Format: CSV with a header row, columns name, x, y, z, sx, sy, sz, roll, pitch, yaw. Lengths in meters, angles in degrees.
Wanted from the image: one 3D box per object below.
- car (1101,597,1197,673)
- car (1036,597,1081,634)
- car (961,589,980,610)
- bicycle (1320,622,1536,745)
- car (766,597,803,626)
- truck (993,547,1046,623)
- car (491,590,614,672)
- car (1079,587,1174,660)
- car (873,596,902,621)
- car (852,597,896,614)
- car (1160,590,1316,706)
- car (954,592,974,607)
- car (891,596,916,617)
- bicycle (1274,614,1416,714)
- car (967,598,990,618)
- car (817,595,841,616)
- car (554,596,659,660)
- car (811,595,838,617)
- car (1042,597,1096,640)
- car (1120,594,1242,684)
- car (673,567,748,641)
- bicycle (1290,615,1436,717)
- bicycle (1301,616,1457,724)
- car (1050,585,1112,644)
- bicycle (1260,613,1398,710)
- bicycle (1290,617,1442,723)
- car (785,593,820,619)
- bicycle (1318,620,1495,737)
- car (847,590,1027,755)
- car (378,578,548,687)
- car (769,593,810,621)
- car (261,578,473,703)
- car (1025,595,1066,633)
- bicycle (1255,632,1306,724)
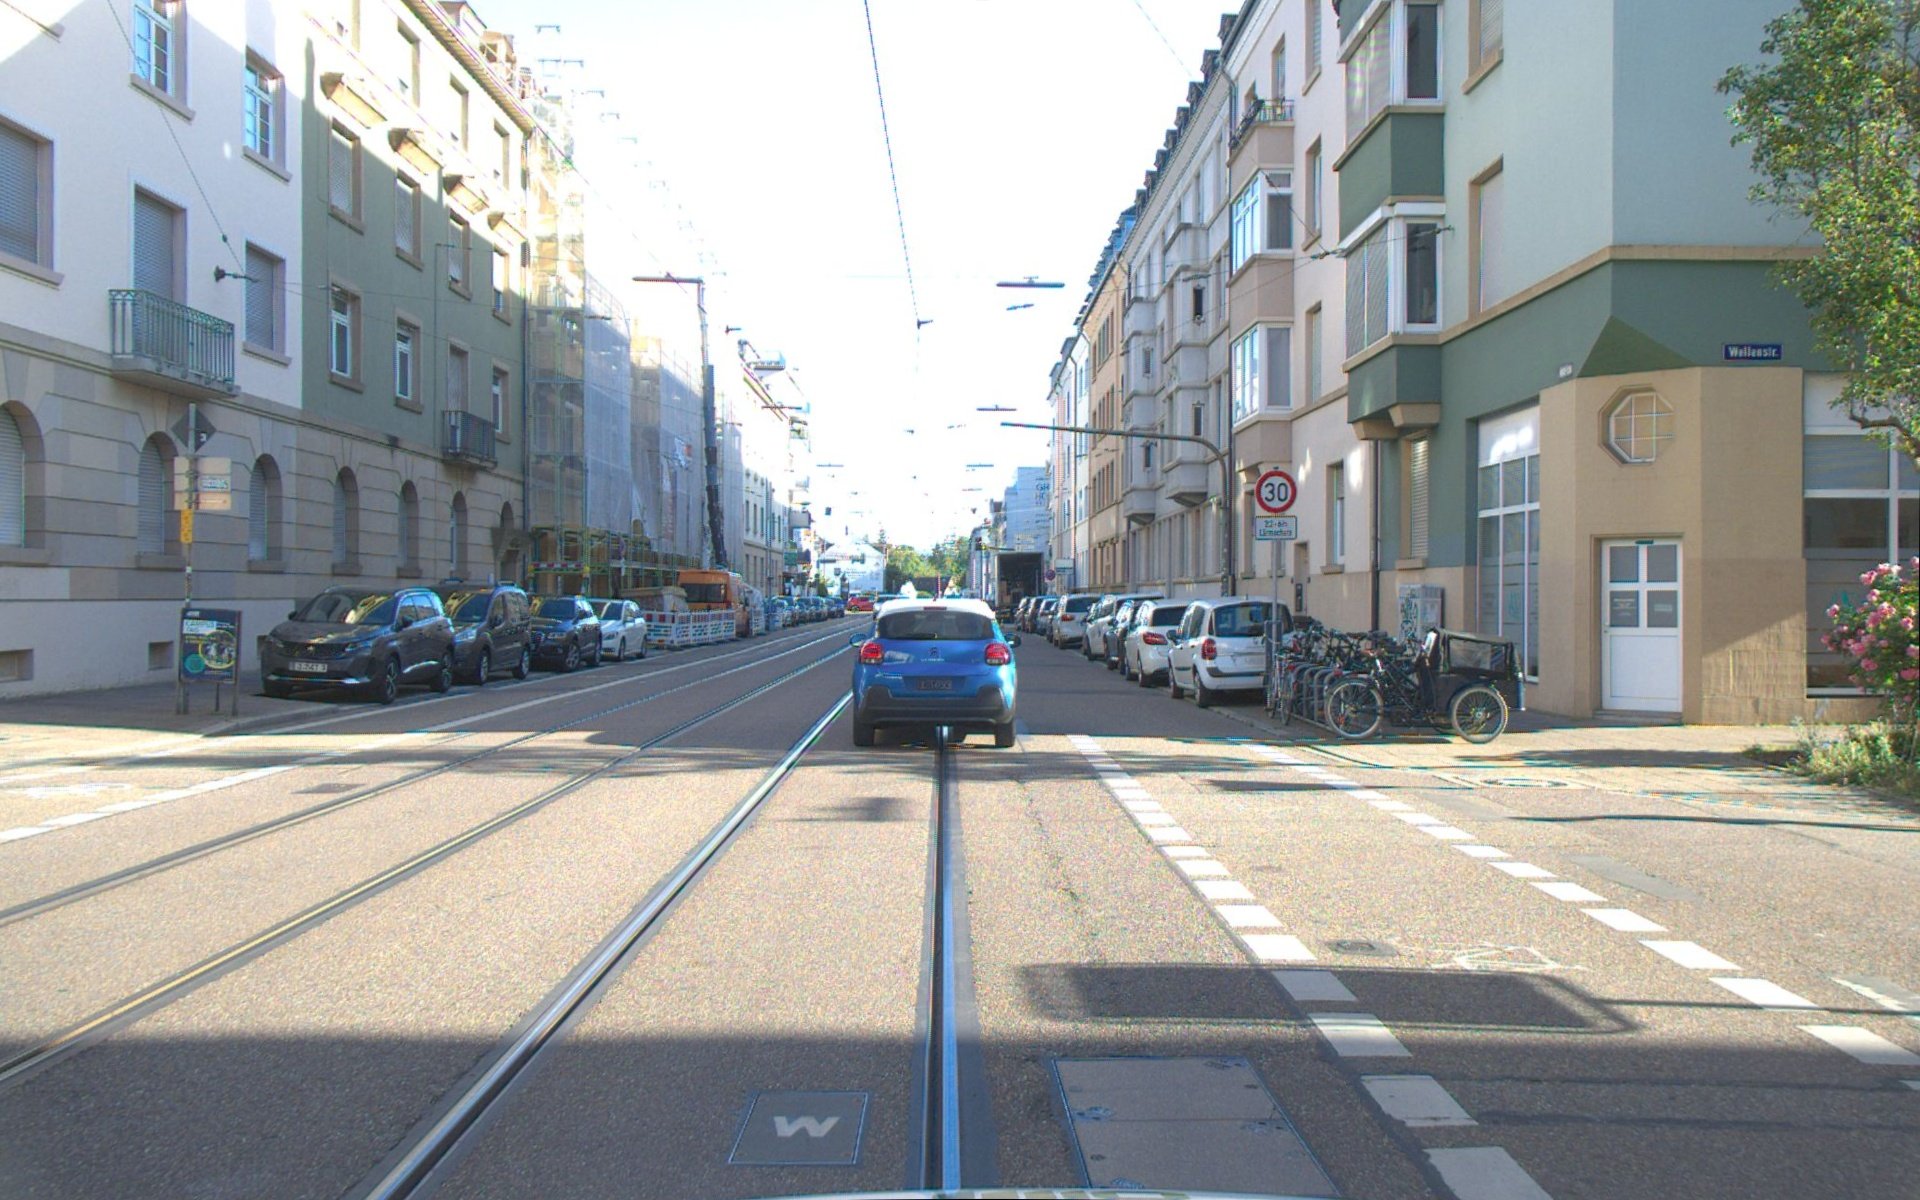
name,x,y,z,sx,sy,sz,roll,pitch,yaw
car,4.137,0.725,36.748,1.621,1.594,4.338,0,0,0
car,4.143,0.629,70.032,1.630,1.546,4.221,0,0,0
car,1.163,-0.080,188.820,2.174,2.324,4.083,0,0,0
bicycle,5.024,0.884,17.855,2.044,1.174,0.848,-3,0,0
car,-9.862,0.623,93.162,1.679,1.622,4.266,0,0,0
truck,3.372,-0.848,96.591,2.794,4.154,11.271,0,0,1
car,-9.008,0.627,36.910,1.747,1.655,4.607,2,0,-3
car,4.219,0.567,42.503,1.622,1.782,4.598,0,0,-5
car,-4.903,0.541,112.902,1.788,1.660,4.490,0,0,0
car,-7.871,0.496,150.741,3.939,1.513,1.759,0,0,-5
car,4.232,0.690,25.742,1.747,1.660,4.000,0,0,0
car,0.403,-0.044,176.172,2.136,1.513,4.159,0,0,0
car,-4.450,0.515,131.084,1.862,1.660,4.266,0,0,0
bicycle,5.024,0.830,21.628,1.687,1.174,0.469,-3,0,0
car,1.418,0.621,129.869,1.729,1.513,4.031,0,0,0
car,-10.500,0.442,132.604,1.789,1.660,3.903,0,0,-3
car,-9.162,0.687,43.156,1.683,1.529,4.388,2,0,1
car,-10.364,0.475,126.701,1.789,1.660,3.904,0,0,-1
car,3.936,0.653,60.330,1.687,1.513,4.221,0,0,0
car,4.144,0.685,31.586,1.747,1.603,4.326,0,0,0
car,-9.047,0.132,60.338,2.101,2.518,4.978,1,0,-3
bicycle,5.111,0.832,21.008,1.687,1.174,0.469,-3,0,0
bicycle,5.000,0.831,19.779,1.687,1.174,0.469,-3,0,0
car,3.955,0.464,54.636,1.695,1.859,4.686,0,0,0
bicycle,4.955,0.820,22.254,1.687,1.174,0.469,-3,0,0
bicycle,4.980,0.856,20.327,1.687,1.174,0.469,-3,0,0
car,-10.161,0.383,106.913,1.788,1.660,4.848,0,0,0
bicycle,4.996,0.872,18.542,1.805,1.174,0.469,-3,0,0
car,-0.234,0.695,18.041,1.699,1.533,3.992,2,0,0
car,-9.226,0.557,31.101,1.746,1.848,4.528,2,0,0
car,-10.398,0.409,101.136,2.101,1.650,3.999,-1,0,-1
car,-9.134,0.565,25.903,1.747,1.720,4.665,2,0,-3
car,3.840,0.598,74.873,1.630,1.676,4.221,0,0,0
bicycle,4.016,0.962,20.796,0.345,1.063,1.728,0,0,1
